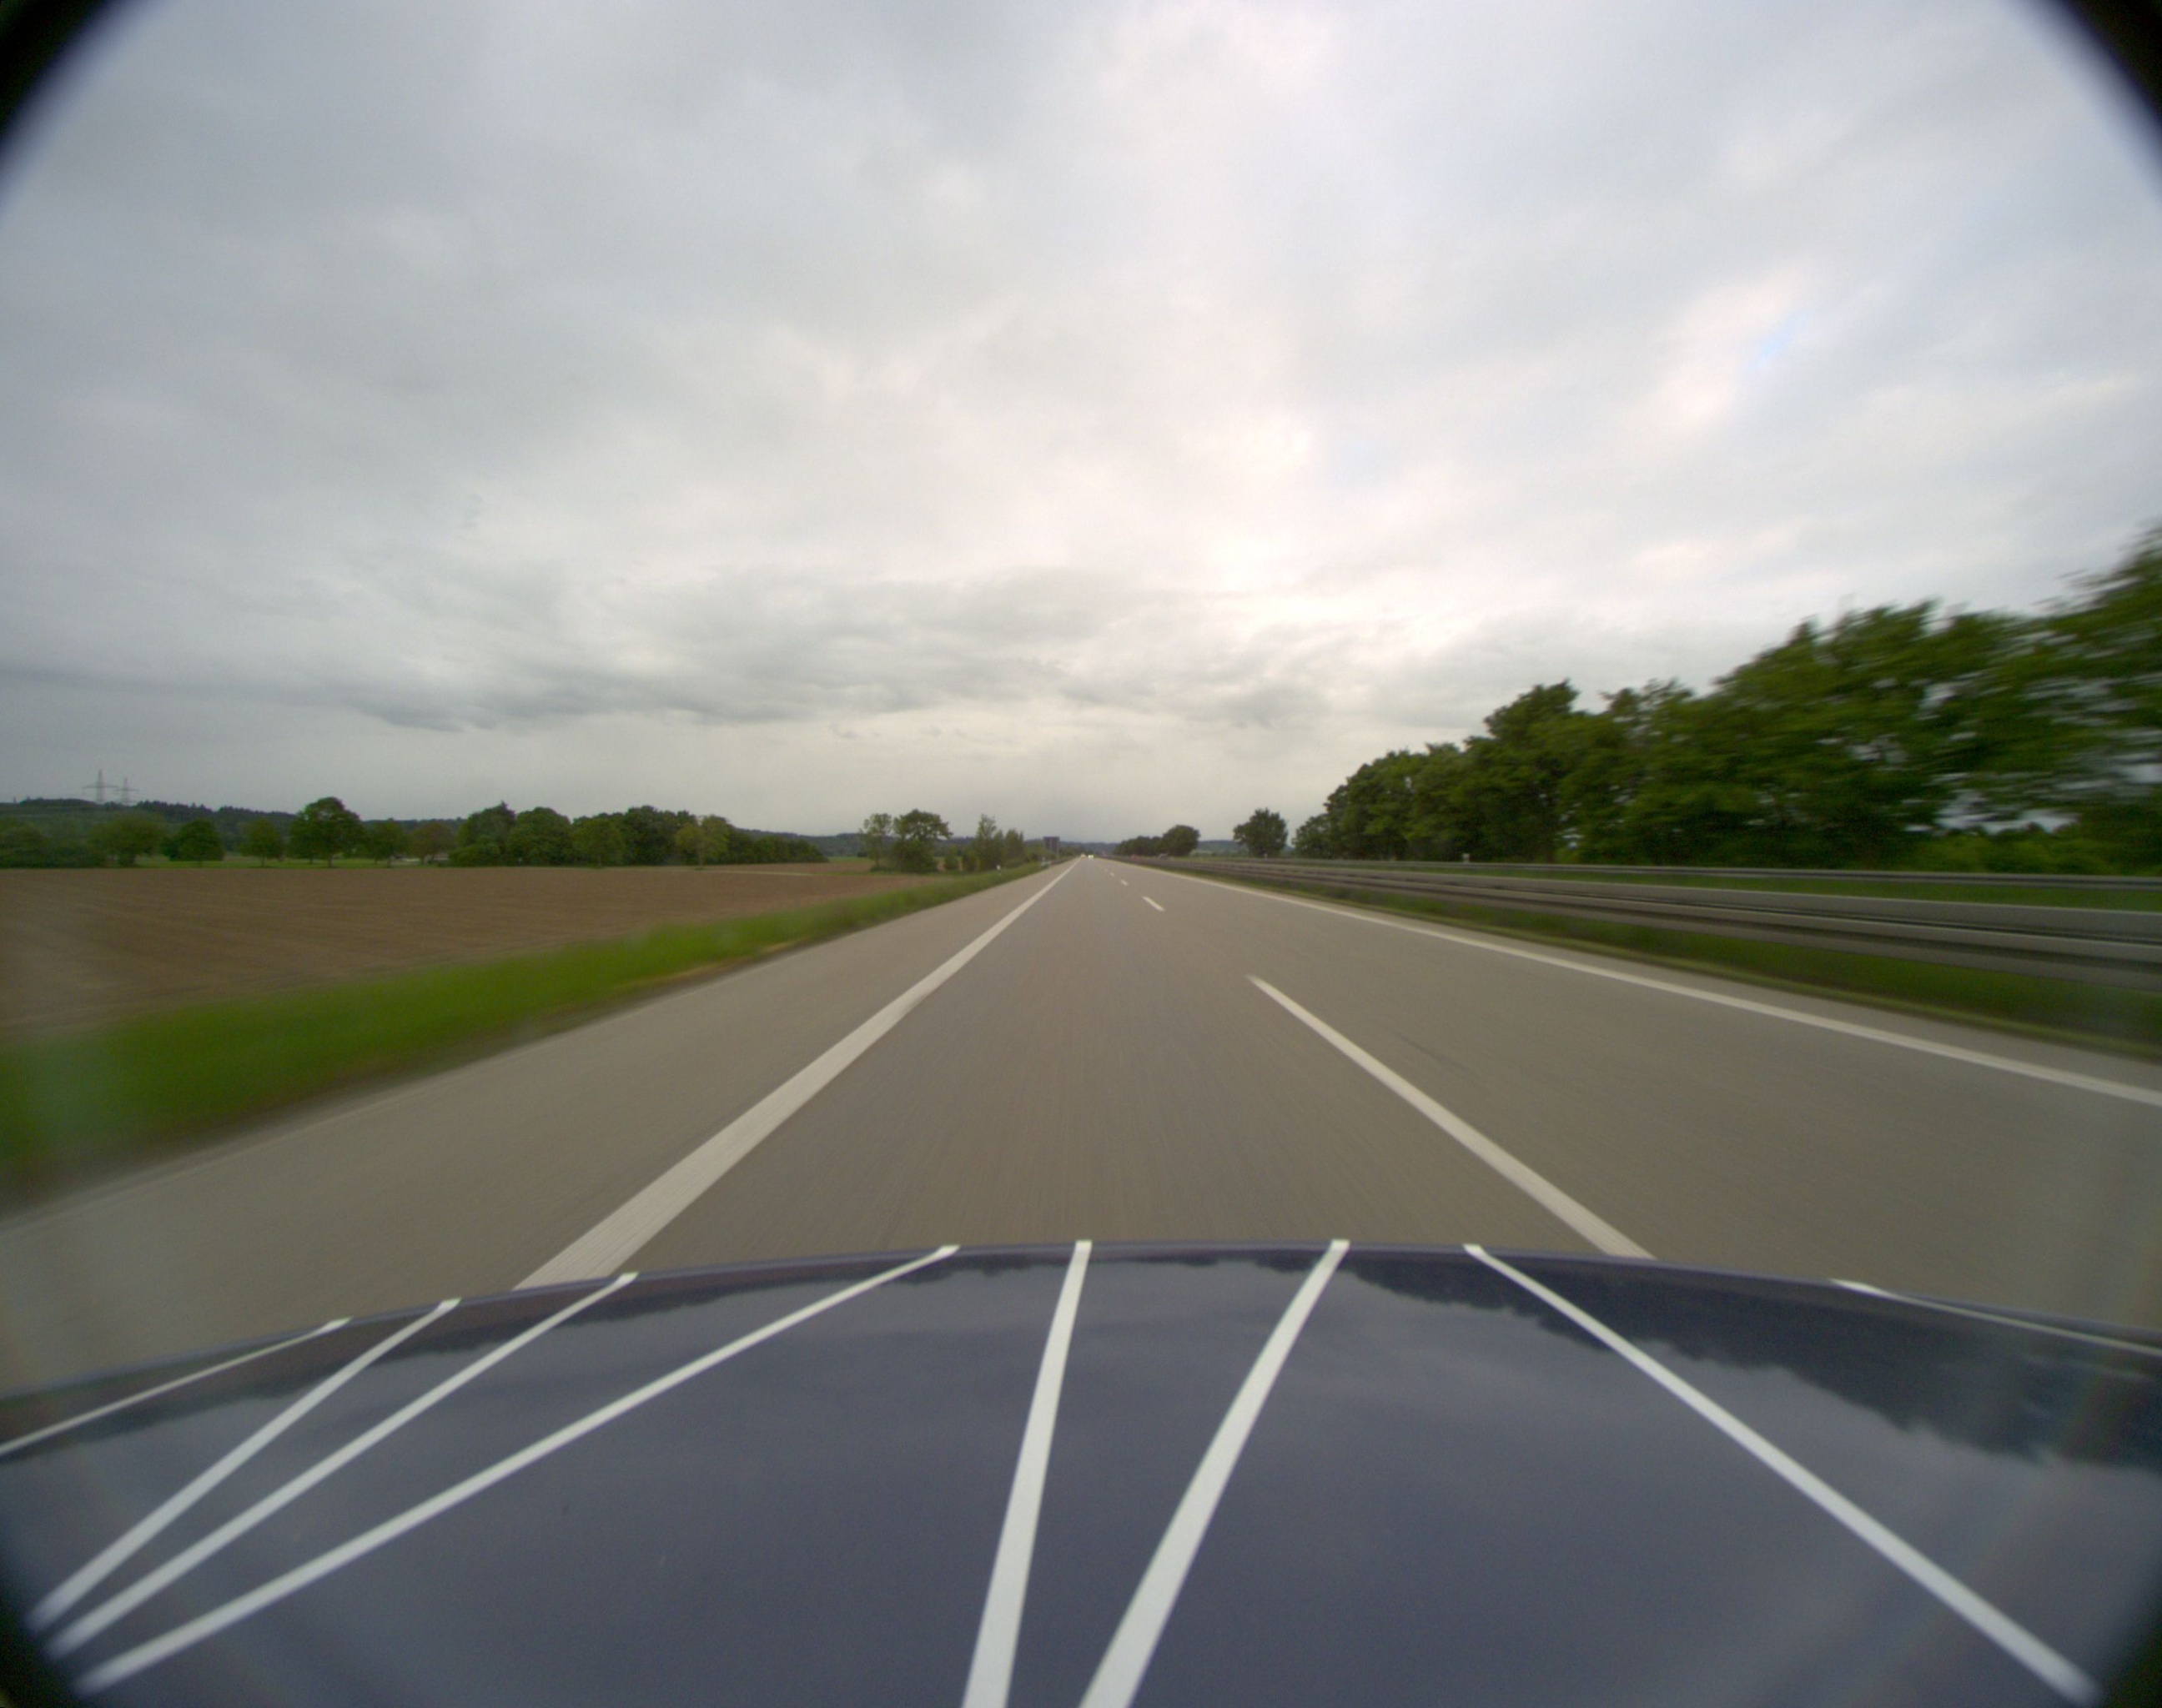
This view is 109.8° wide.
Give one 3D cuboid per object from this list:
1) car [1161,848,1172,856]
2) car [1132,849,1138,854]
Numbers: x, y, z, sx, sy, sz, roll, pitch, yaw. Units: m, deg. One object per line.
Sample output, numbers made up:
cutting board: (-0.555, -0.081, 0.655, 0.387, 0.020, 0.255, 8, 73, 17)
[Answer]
car: (18.568, -0.412, 164.950, 1.998, 1.573, 4.808, -2, 1, 1)
car: (18.295, -0.987, 258.144, 1.822, 1.553, 4.523, -3, 1, 0)
